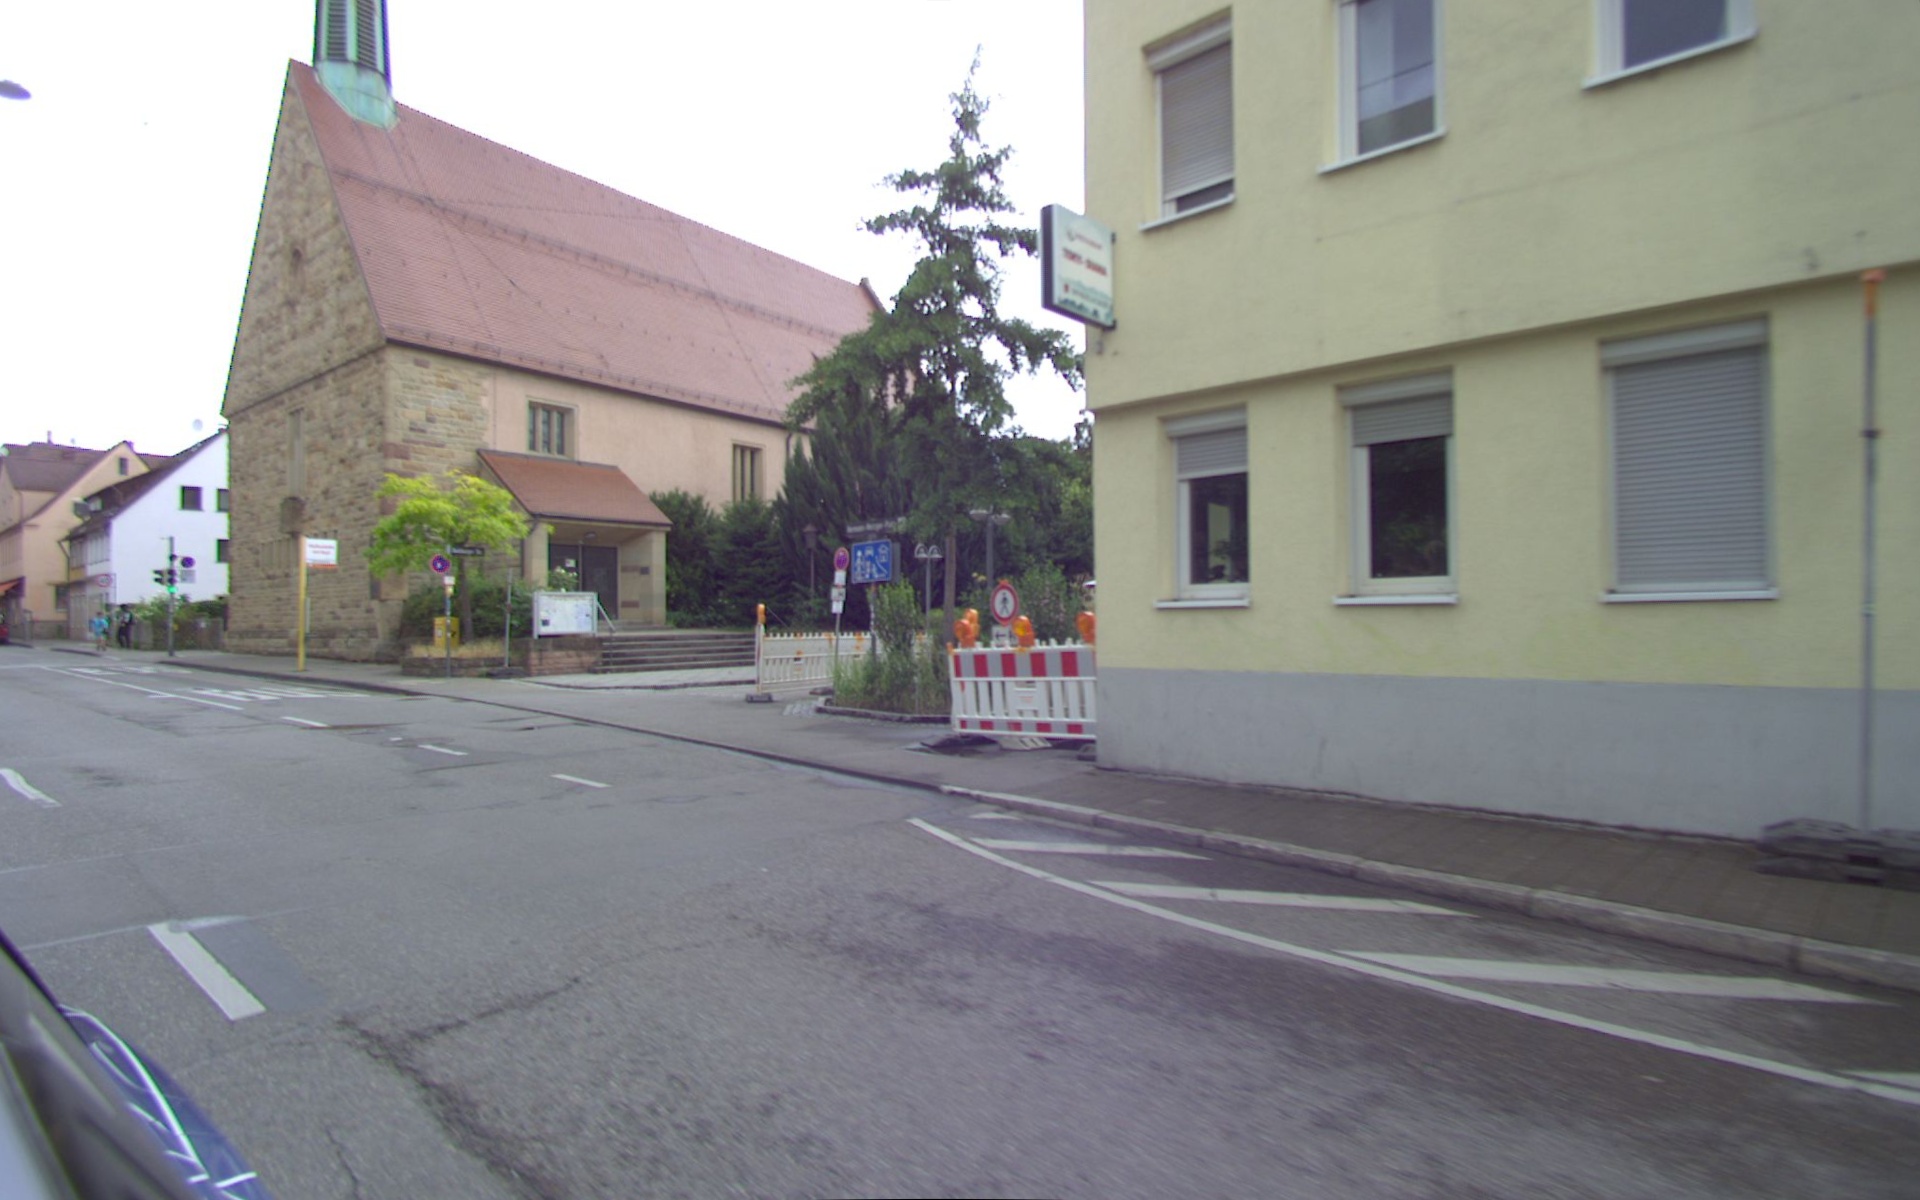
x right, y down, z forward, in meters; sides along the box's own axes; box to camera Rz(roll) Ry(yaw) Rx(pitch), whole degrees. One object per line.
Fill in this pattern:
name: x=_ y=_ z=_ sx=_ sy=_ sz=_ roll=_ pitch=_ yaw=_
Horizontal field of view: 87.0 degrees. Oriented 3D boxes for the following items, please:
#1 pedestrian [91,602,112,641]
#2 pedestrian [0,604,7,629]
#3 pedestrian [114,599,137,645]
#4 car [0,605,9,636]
pedestrian: x=-35.259 y=0.871 z=41.573 sx=0.697 sy=1.566 sz=0.565 roll=-1 pitch=0 yaw=42
pedestrian: x=-62.205 y=1.059 z=65.428 sx=0.757 sy=1.641 sz=0.723 roll=0 pitch=1 yaw=38
pedestrian: x=-34.466 y=0.913 z=41.787 sx=0.697 sy=1.862 sz=0.565 roll=-1 pitch=1 yaw=42
car: x=-52.576 y=1.059 z=54.360 sx=4.448 sy=1.586 sz=1.685 roll=0 pitch=-3 yaw=41
